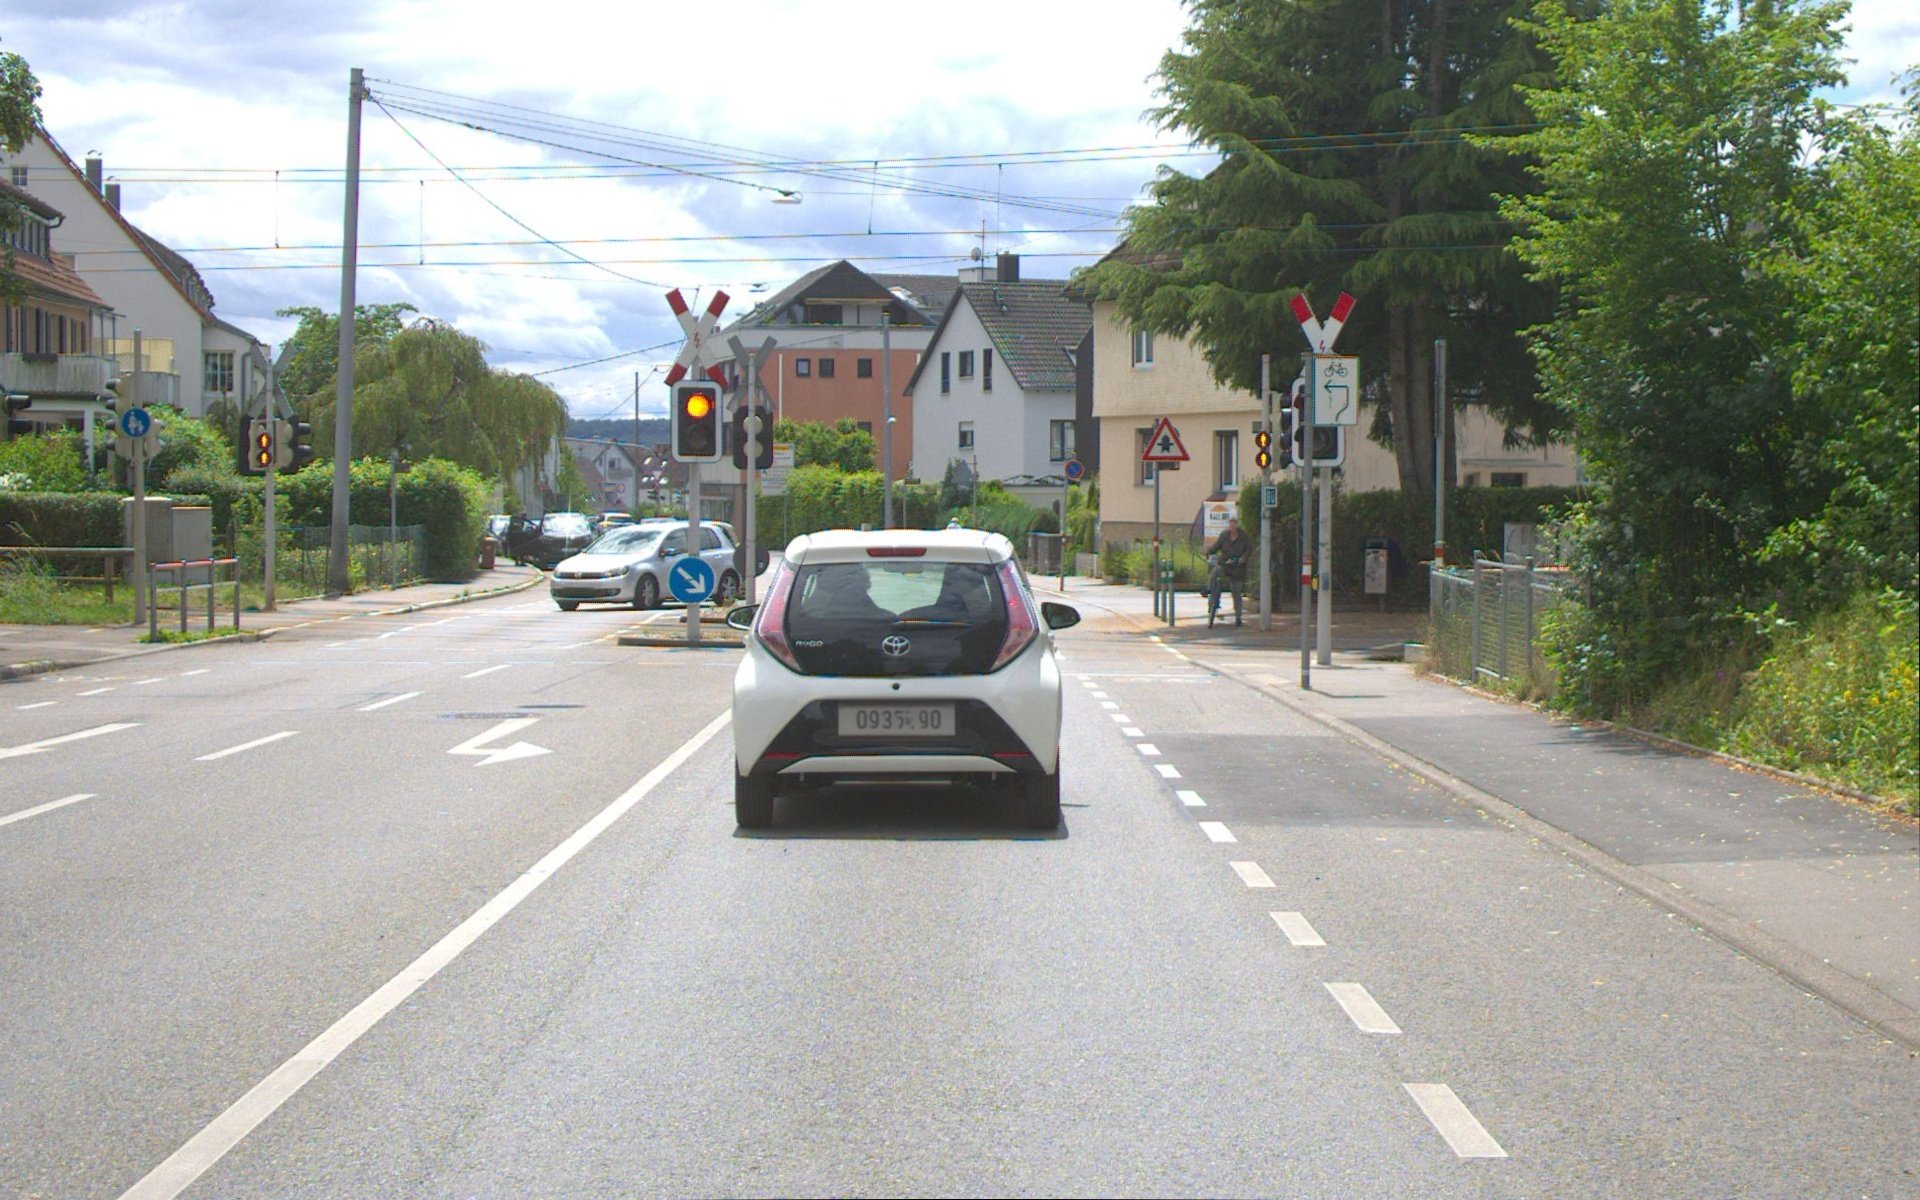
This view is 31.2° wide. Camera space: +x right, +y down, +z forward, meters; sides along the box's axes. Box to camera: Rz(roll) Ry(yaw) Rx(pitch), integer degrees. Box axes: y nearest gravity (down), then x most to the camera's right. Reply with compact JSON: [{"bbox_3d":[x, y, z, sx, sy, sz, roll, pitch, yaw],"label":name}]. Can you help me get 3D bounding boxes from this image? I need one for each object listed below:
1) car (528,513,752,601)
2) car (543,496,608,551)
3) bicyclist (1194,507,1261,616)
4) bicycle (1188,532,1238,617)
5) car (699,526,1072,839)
[{"bbox_3d":[-5.534,-0.748,59.891,1.908,1.436,4.092,2,1,28],"label":"car"},{"bbox_3d":[-12.381,-2.465,110.859,1.993,1.713,4.001,1,1,-6],"label":"car"},{"bbox_3d":[3.999,-0.582,51.443,0.840,1.548,0.756,-3,4,-5],"label":"bicyclist"},{"bbox_3d":[3.792,-0.394,51.557,0.457,1.168,1.480,-3,4,-6],"label":"bicycle"},{"bbox_3d":[-0.395,0.349,18.044,1.721,1.437,3.709,1,1,-1],"label":"car"}]
